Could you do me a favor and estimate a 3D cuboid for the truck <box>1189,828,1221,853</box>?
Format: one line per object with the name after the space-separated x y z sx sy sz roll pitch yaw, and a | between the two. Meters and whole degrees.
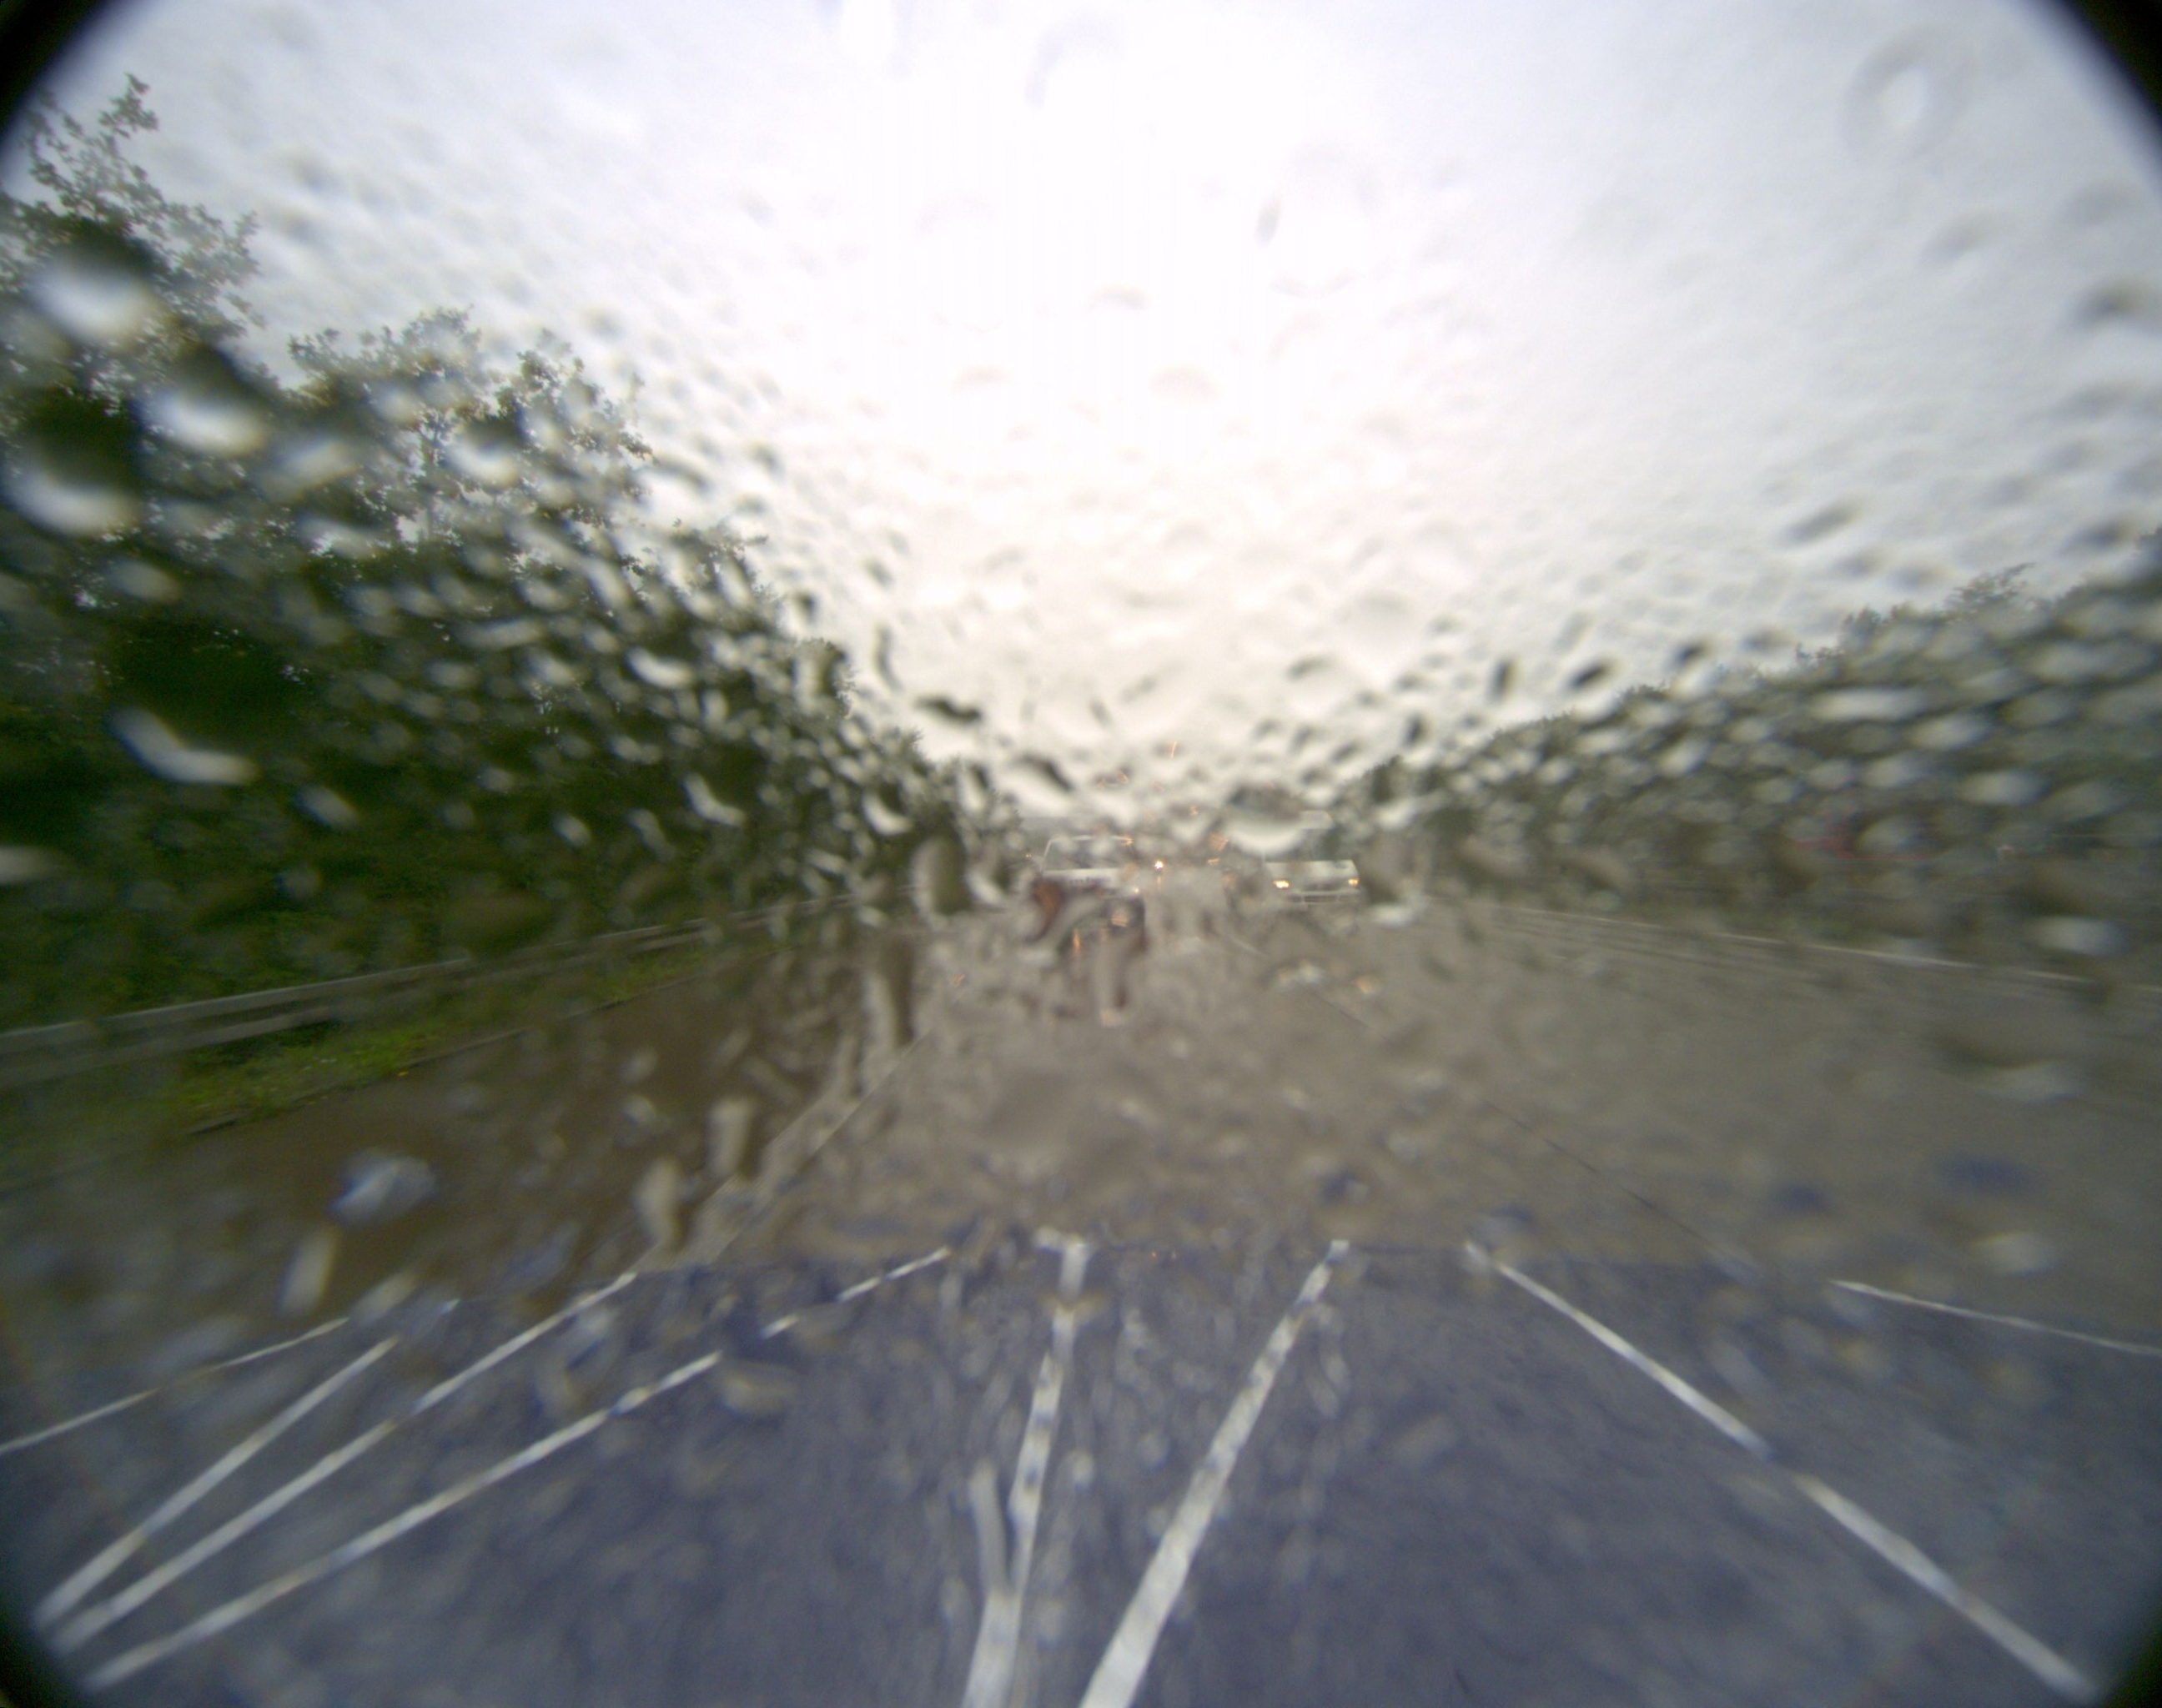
22.343 -2.413 137.732 3.132 4.220 13.538 -2 0 -2 | truck

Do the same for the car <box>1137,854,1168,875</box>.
5.129 0.712 54.822 1.745 1.380 4.320 0 1 -1 | car

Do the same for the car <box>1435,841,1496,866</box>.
21.160 -0.035 41.948 1.671 1.304 3.318 -2 0 1 | car

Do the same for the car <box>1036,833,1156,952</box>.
0.163 0.632 14.995 1.905 1.883 5.041 -2 0 -2 | car

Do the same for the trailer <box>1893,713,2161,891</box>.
24.774 -1.150 15.438 3.144 3.834 12.871 -2 0 2 | trailer

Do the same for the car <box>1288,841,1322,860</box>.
20.940 -0.323 71.166 1.952 1.649 4.000 -2 0 1 | car

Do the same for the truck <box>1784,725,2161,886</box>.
25.007 -1.204 21.949 3.144 3.834 6.887 -2 0 2 | truck

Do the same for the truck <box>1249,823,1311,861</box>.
24.411 -1.360 94.666 3.132 4.220 16.369 -2 0 -1 | truck

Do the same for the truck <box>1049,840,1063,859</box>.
-6.140 -1.047 184.888 3.059 3.994 10.041 1 -2 -3 | truck

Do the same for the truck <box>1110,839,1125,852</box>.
12.150 -2.719 254.069 3.691 4.280 13.292 -2 0 -2 | truck

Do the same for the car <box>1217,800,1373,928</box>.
4.675 0.184 17.667 2.003 2.417 5.790 -2 0 1 | car

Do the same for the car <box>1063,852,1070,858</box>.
-3.782 0.199 199.223 1.850 1.521 3.999 -1 0 -2 | car
